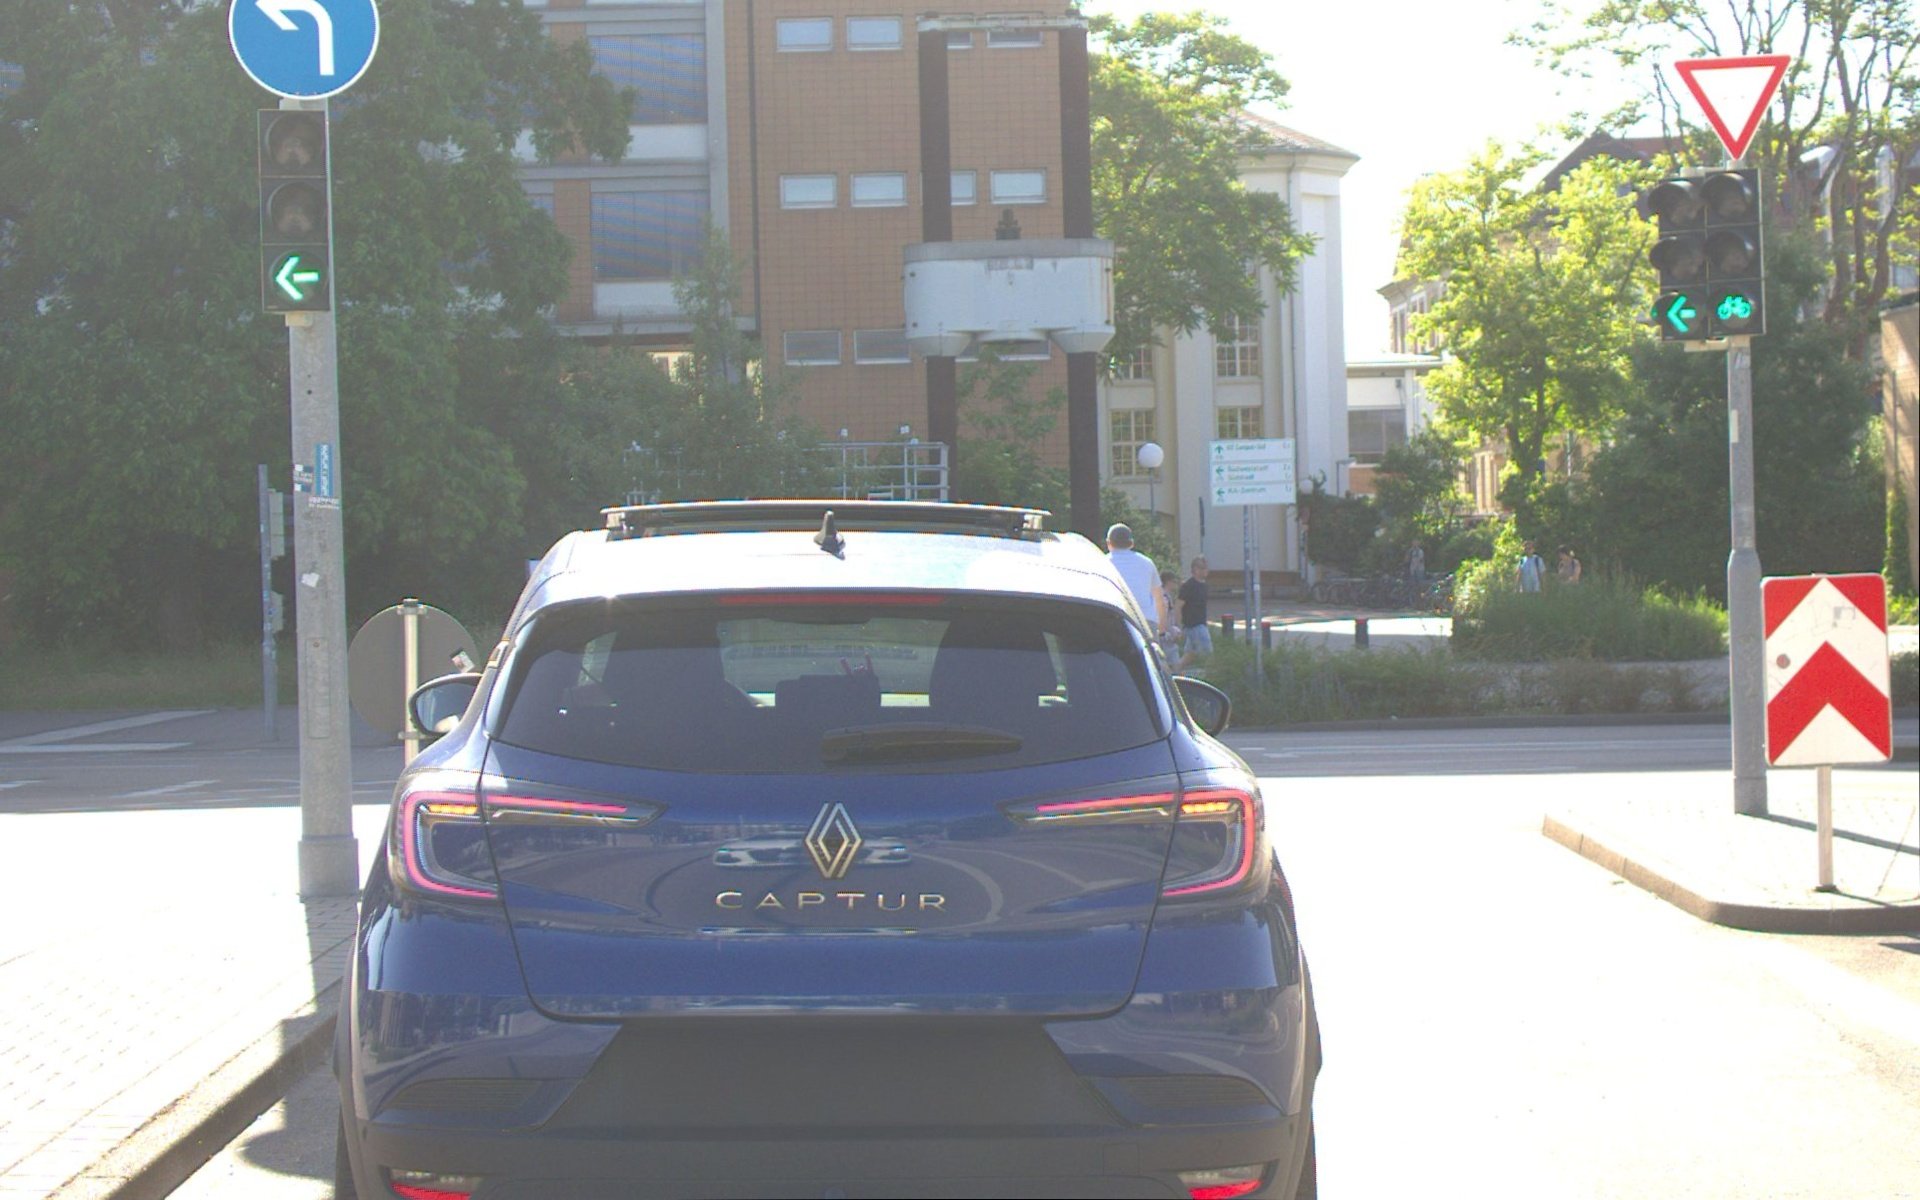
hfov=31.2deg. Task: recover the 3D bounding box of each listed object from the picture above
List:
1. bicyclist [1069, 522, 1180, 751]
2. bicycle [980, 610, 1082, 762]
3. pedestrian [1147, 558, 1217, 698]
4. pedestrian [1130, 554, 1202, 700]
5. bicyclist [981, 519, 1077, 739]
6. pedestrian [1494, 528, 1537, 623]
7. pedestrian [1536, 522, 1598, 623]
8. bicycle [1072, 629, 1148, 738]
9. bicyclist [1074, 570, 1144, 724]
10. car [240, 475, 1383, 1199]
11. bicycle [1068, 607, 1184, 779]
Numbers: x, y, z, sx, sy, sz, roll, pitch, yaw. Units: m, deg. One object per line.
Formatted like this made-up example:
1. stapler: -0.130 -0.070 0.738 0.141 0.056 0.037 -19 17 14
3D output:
1. bicyclist: 1.186 0.253 24.939 0.719 1.611 0.978 -1 1 -1
2. bicycle: 0.567 0.683 28.112 0.746 1.161 1.870 -1 1 -1
3. pedestrian: 2.864 0.356 44.268 0.734 1.776 0.731 1 0 17
4. pedestrian: 2.601 0.330 43.293 0.734 1.810 0.731 1 0 17
5. bicyclist: 0.556 0.226 28.132 0.719 1.756 0.978 -1 1 -1
6. pedestrian: 9.619 -0.418 59.506 0.676 1.637 0.735 0 0 14
7. pedestrian: 9.899 -0.444 56.068 0.677 1.637 0.734 1 1 42
8. bicycle: 1.714 0.946 39.485 0.746 1.161 1.870 -1 1 -1
9. bicyclist: 1.707 0.530 39.499 0.719 1.729 0.978 -1 1 -1
10. car: -0.271 0.590 7.603 1.876 1.612 3.798 1 1 -1
11. bicycle: 1.191 0.651 24.923 0.716 1.161 1.870 -1 1 0
